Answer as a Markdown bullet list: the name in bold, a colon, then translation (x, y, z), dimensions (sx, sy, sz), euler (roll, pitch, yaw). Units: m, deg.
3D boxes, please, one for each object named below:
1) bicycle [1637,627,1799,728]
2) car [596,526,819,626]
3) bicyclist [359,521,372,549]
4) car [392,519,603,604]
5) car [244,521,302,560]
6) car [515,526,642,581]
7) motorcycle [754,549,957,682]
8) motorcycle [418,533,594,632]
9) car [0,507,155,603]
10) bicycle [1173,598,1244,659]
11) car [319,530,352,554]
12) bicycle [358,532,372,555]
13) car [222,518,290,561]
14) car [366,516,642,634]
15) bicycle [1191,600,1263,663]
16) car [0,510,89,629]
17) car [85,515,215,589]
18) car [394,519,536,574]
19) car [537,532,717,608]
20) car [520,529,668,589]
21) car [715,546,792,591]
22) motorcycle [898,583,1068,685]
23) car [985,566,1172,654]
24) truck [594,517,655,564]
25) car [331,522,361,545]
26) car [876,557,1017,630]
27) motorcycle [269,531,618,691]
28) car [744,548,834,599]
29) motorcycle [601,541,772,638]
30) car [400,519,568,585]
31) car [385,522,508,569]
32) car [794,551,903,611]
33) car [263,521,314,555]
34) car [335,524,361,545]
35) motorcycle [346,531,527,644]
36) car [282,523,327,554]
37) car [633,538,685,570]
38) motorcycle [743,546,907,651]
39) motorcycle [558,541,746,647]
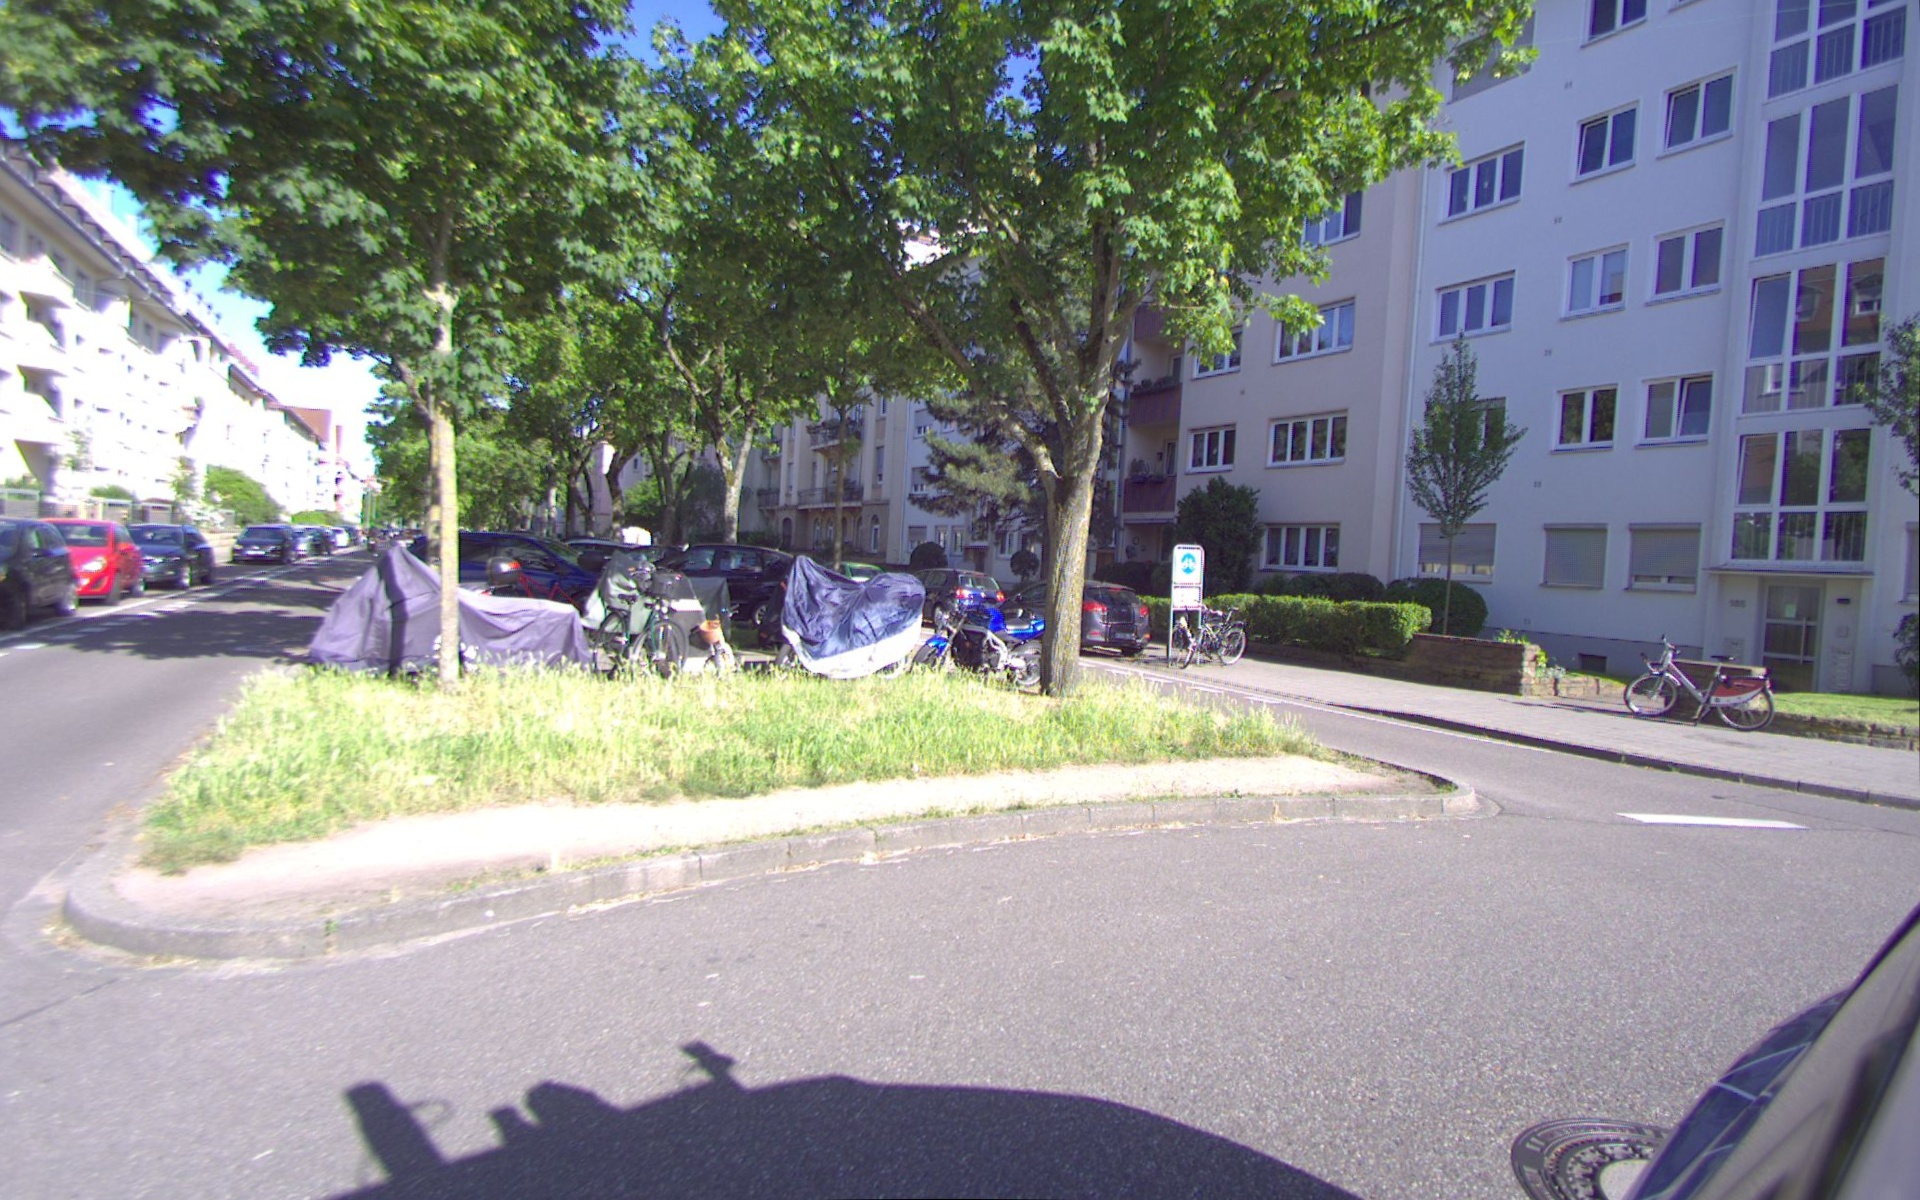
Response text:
- **bicycle**: translation (9.893, 0.982, 13.277), dimensions (0.377, 1.091, 1.626), euler (-1, 4, -34)
- **car**: translation (-4.778, -0.467, 19.563), dimensions (3.917, 1.617, 2.004), euler (3, 2, -10)
- **bicyclist**: translation (-30.179, -3.314, 51.359), dimensions (0.497, 1.383, 0.704), euler (2, 2, -28)
- **car**: translation (-10.312, -0.860, 22.767), dimensions (3.921, 1.610, 1.709), euler (3, 2, -3)
- **car**: translation (-28.917, -2.533, 42.703), dimensions (1.718, 1.425, 3.860), euler (3, 2, -31)
- **car**: translation (-13.895, -1.698, 36.950), dimensions (3.939, 1.744, 1.880), euler (4, 2, 12)
- **motorcycle**: translation (-1.147, 0.165, 11.277), dimensions (2.013, 1.344, 0.864), euler (2, 2, -32)
- **motorcycle**: translation (-6.519, -0.246, 14.548), dimensions (2.196, 1.283, 1.054), euler (2, 2, -29)
- **car**: translation (-15.890, -0.845, 18.131), dimensions (1.718, 1.462, 3.860), euler (3, 2, -31)
- **bicycle**: translation (4.623, 0.520, 18.785), dimensions (1.421, 1.069, 0.331), euler (-1, 4, -30)
- **car**: translation (-41.229, -3.863, 66.892), dimensions (1.718, 1.425, 3.860), euler (3, 2, -31)
- **bicycle**: translation (-30.227, -2.883, 51.411), dimensions (0.505, 1.077, 1.913), euler (2, 3, -28)
- **car**: translation (-26.307, -2.294, 37.922), dimensions (1.718, 1.425, 3.860), euler (3, 2, -31)
- **car**: translation (-7.565, -0.438, 17.057), dimensions (3.804, 1.660, 1.804), euler (3, 2, 0)
- **bicycle**: translation (4.852, 0.557, 18.370), dimensions (1.421, 1.069, 0.331), euler (-1, 4, -30)
- **car**: translation (-13.484, -0.512, 13.822), dimensions (1.718, 1.462, 3.962), euler (0, 4, -30)
- **car**: translation (-18.291, -1.126, 23.033), dimensions (1.718, 1.462, 3.860), euler (3, 2, -31)
- **car**: translation (-16.859, -1.824, 34.622), dimensions (3.921, 1.610, 1.888), euler (3, 2, -3)
- **car**: translation (-8.261, -0.758, 25.404), dimensions (3.920, 1.617, 1.881), euler (3, 2, -5)
- **car**: translation (-11.240, -1.283, 31.285), dimensions (3.919, 1.567, 1.785), euler (3, 2, -6)
- **car**: translation (-8.356, -1.296, 40.740), dimensions (1.749, 1.503, 4.006), euler (3, 2, -31)
- **motorcycle**: translation (0.283, 0.409, 12.134), dimensions (1.807, 1.086, 0.816), euler (4, 2, -28)
- **car**: translation (2.312, 0.149, 20.857), dimensions (1.795, 1.428, 4.008), euler (3, 2, -28)
- **truck**: translation (-21.564, -3.835, 64.879), dimensions (2.363, 2.708, 5.916), euler (3, 2, -31)
- **car**: translation (-44.104, -4.781, 72.699), dimensions (1.718, 1.475, 3.860), euler (3, 2, -31)
- **car**: translation (-0.434, -0.210, 25.738), dimensions (1.749, 1.503, 4.006), euler (3, 2, -31)
- **motorcycle**: translation (-4.762, 0.091, 9.443), dimensions (2.730, 1.283, 1.128), euler (2, 3, -34)
- **car**: translation (-6.114, -0.969, 35.833), dimensions (1.749, 1.503, 4.006), euler (3, 2, -31)
- **motorcycle**: translation (-4.030, -0.152, 14.937), dimensions (2.196, 1.283, 1.054), euler (2, 2, -29)
- **car**: translation (-13.568, -1.368, 29.037), dimensions (3.921, 1.610, 1.888), euler (3, 2, -3)
- **car**: translation (-20.516, -2.168, 40.526), dimensions (3.921, 1.610, 1.888), euler (3, 2, -3)
- **car**: translation (-3.490, -0.630, 31.011), dimensions (1.749, 1.524, 4.006), euler (3, 2, -31)
- **car**: translation (-31.444, -2.923, 47.477), dimensions (1.718, 1.425, 3.860), euler (3, 2, -31)
- **car**: translation (-49.407, -5.295, 81.743), dimensions (1.718, 1.475, 3.860), euler (3, 2, -31)
- **motorcycle**: translation (-6.345, -0.146, 12.318), dimensions (1.856, 1.251, 0.891), euler (2, 2, -29)
- **car**: translation (-34.039, -3.211, 52.601), dimensions (1.718, 1.425, 3.860), euler (3, 2, -31)
- **car**: translation (-16.406, -2.508, 55.045), dimensions (1.749, 1.503, 4.006), euler (3, 2, -31)
- **motorcycle**: translation (-1.977, -0.022, 14.835), dimensions (2.084, 1.409, 1.065), euler (2, 3, -30)
- **motorcycle**: translation (-4.119, -0.081, 13.535), dimensions (2.196, 1.283, 1.054), euler (2, 2, -29)
